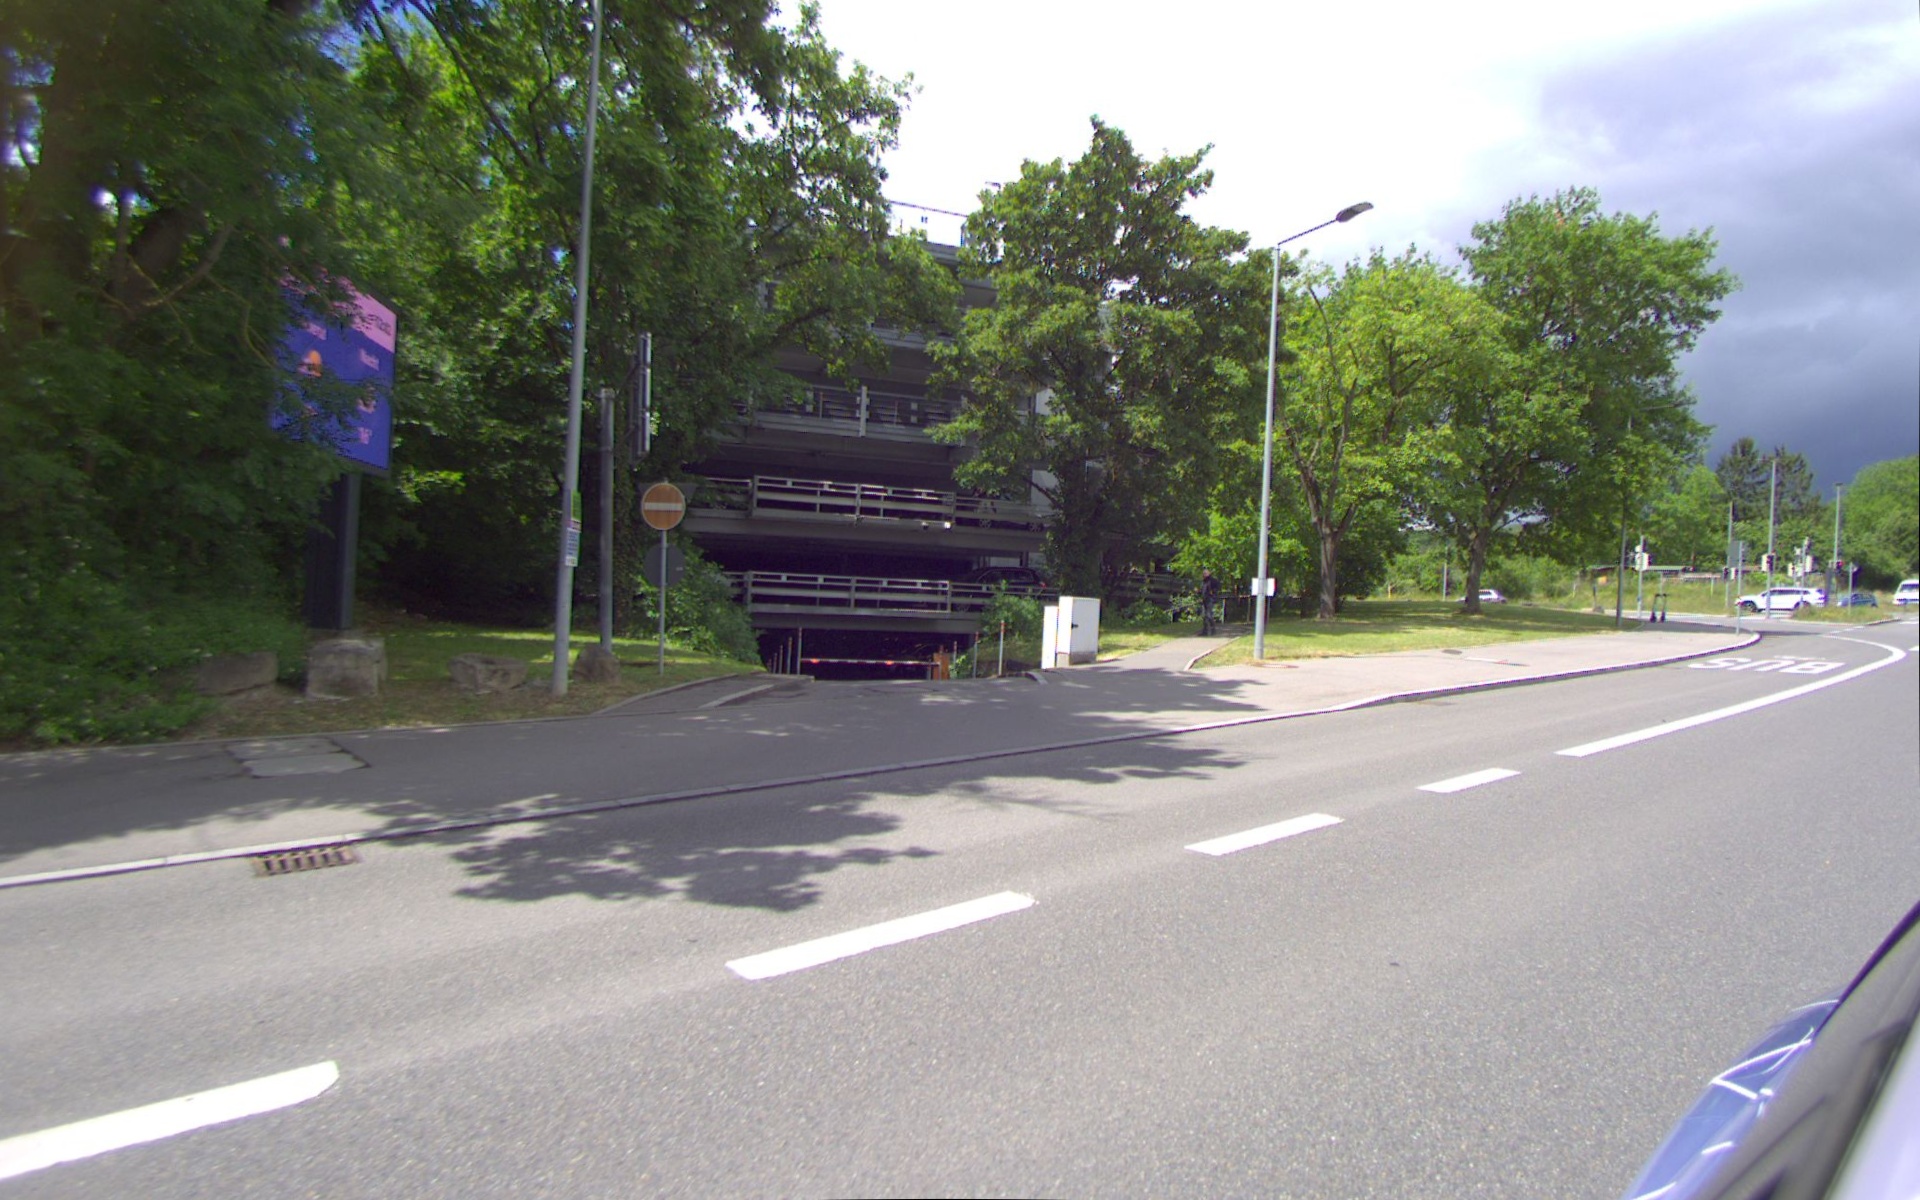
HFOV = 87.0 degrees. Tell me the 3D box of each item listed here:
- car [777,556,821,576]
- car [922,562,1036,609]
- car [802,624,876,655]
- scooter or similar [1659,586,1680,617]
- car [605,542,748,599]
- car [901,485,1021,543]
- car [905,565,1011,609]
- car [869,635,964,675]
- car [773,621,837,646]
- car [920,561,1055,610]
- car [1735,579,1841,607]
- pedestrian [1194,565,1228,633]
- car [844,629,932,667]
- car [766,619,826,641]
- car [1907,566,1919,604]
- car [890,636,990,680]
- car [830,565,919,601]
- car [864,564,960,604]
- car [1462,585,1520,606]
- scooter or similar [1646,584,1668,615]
[{"bbox_3d":[-15.047,-3.146,94.574,3.776,1.505,1.757,4,-2,-20],"label":"car"},{"bbox_3d":[0.677,-0.503,36.809,3.718,1.491,1.780,3,-1,-20],"label":"car"},{"bbox_3d":[-6.308,2.042,52.601,3.547,1.463,1.659,0,1,-19],"label":"car"},{"bbox_3d":[30.607,0.038,43.660,0.529,1.279,1.179,3,2,27],"label":"scooter or similar"},{"bbox_3d":[-8.677,-0.867,30.949,4.052,1.491,1.780,3,-1,-20],"label":"car"},{"bbox_3d":[0.024,-3.064,36.618,3.916,1.816,1.940,0,0,-20],"label":"car"},{"bbox_3d":[-0.089,-0.493,39.465,3.718,1.491,1.780,3,-1,-20],"label":"car"},{"bbox_3d":[-1.798,2.220,41.366,3.547,1.430,1.591,0,1,-20],"label":"car"},{"bbox_3d":[-9.254,1.993,60.515,3.547,1.349,1.659,0,1,-19],"label":"car"},{"bbox_3d":[0.944,-0.491,34.611,4.299,1.615,1.660,0,1,-20],"label":"car"},{"bbox_3d":[51.850,-0.465,63.454,1.702,1.679,4.897,0,1,-39],"label":"car"},{"bbox_3d":[6.711,-0.027,27.063,0.762,1.740,0.588,4,-2,13],"label":"pedestrian"},{"bbox_3d":[-3.219,2.103,45.101,3.547,1.543,1.774,0,1,-22],"label":"car"},{"bbox_3d":[-10.488,1.903,64.714,3.547,1.349,1.659,0,1,-19],"label":"car"},{"bbox_3d":[71.174,-1.062,73.534,5.712,2.684,2.166,0,1,-33],"label":"car"},{"bbox_3d":[-0.776,2.208,39.109,3.547,1.543,1.584,0,1,-20],"label":"car"},{"bbox_3d":[-3.810,-0.729,44.812,3.547,1.543,1.774,0,1,-22],"label":"car"},{"bbox_3d":[-1.969,-0.645,41.091,3.547,1.543,1.637,0,1,-20],"label":"car"},{"bbox_3d":[40.234,-0.362,76.721,1.559,1.479,3.515,4,-2,-44],"label":"car"},{"bbox_3d":[29.600,-0.033,42.992,0.529,1.279,1.179,3,2,27],"label":"scooter or similar"}]
